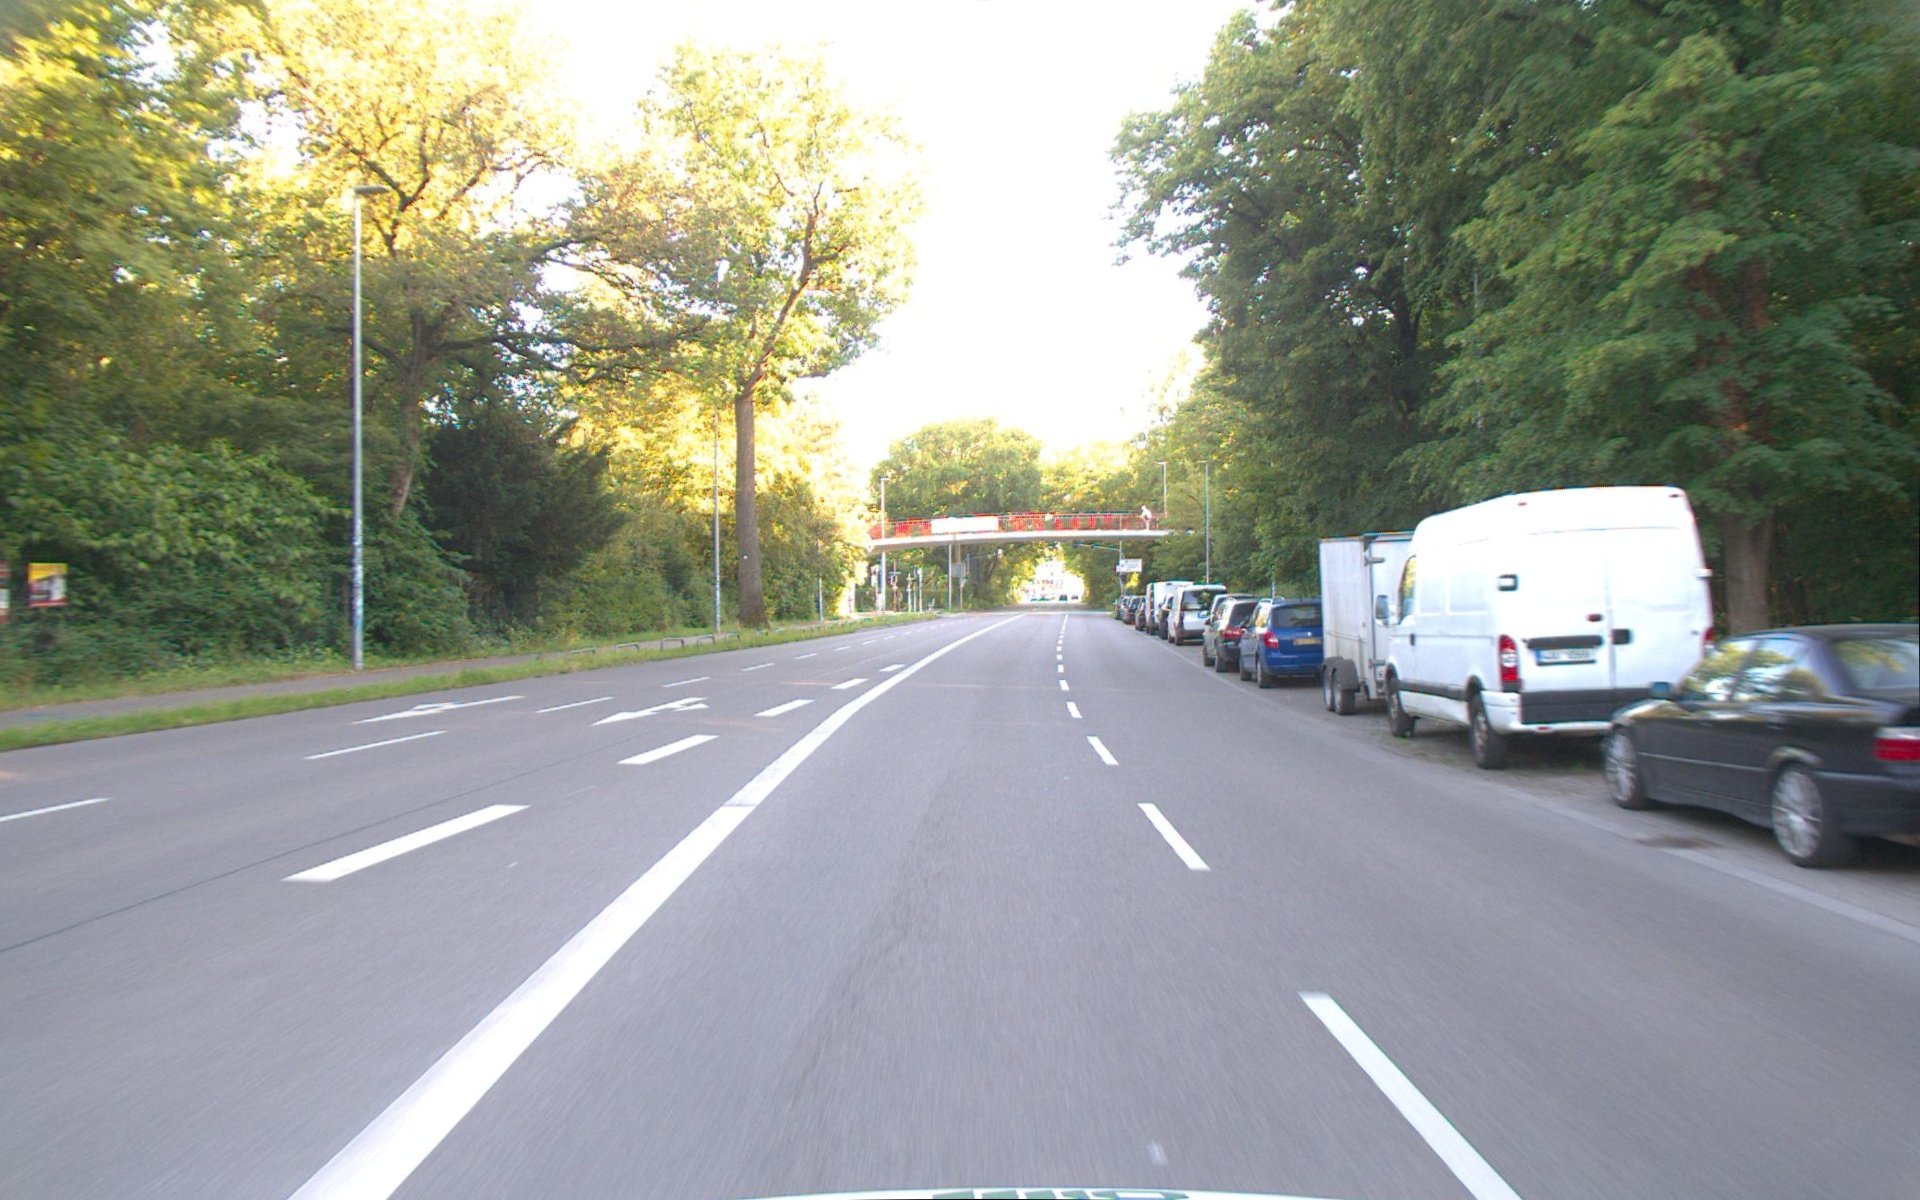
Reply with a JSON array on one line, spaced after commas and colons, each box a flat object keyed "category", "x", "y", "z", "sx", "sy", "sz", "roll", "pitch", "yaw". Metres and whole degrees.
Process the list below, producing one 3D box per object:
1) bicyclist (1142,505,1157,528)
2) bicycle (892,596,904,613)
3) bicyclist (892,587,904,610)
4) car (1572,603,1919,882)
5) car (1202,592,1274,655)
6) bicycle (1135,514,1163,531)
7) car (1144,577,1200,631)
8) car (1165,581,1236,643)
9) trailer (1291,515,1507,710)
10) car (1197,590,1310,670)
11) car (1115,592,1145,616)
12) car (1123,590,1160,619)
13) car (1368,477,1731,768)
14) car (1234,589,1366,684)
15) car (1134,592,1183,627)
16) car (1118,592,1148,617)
[{"category": "bicyclist", "x": 13.695, "y": -6.002, "z": 119.485, "sx": 0.950, "sy": 1.614, "sz": 0.714, "roll": 1, "pitch": -1, "yaw": 2}, {"category": "bicycle", "x": -4.497, "y": 0.322, "z": 120.013, "sx": 0.697, "sy": 1.167, "sz": 1.994, "roll": 1, "pitch": -1, "yaw": 3}, {"category": "bicyclist", "x": -4.487, "y": -0.105, "z": 120.018, "sx": 0.697, "sy": 1.586, "sz": 1.143, "roll": 1, "pitch": -1, "yaw": 3}, {"category": "car", "x": 5.725, "y": 0.748, "z": 10.978, "sx": 1.643, "sy": 1.425, "sz": 4.651, "roll": -1, "pitch": 0, "yaw": 1}, {"category": "car", "x": 7.101, "y": 0.587, "z": 42.441, "sx": 1.552, "sy": 1.521, "sz": 3.182, "roll": -1, "pitch": 0, "yaw": 5}, {"category": "bicycle", "x": 13.677, "y": -5.623, "z": 119.480, "sx": 1.945, "sy": 1.167, "sz": 0.714, "roll": 1, "pitch": -1, "yaw": 2}, {"category": "car", "x": 8.279, "y": 0.150, "z": 64.922, "sx": 1.829, "sy": 2.016, "sz": 5.477, "roll": -1, "pitch": 0, "yaw": 4}, {"category": "car", "x": 7.557, "y": 0.374, "z": 52.283, "sx": 1.722, "sy": 1.835, "sz": 4.739, "roll": -1, "pitch": 0, "yaw": 2}, {"category": "trailer", "x": 6.154, "y": 0.170, "z": 23.830, "sx": 1.864, "sy": 2.466, "sz": 5.128, "roll": -1, "pitch": 0, "yaw": 2}, {"category": "car", "x": 6.260, "y": 0.605, "z": 35.791, "sx": 1.722, "sy": 1.562, "sz": 4.990, "roll": -1, "pitch": 0, "yaw": 2}, {"category": "car", "x": 10.759, "y": 0.236, "z": 104.980, "sx": 1.737, "sy": 1.479, "sz": 4.390, "roll": -1, "pitch": 0, "yaw": 4}, {"category": "car", "x": 9.591, "y": 0.246, "z": 87.675, "sx": 1.603, "sy": 1.479, "sz": 4.899, "roll": -1, "pitch": 0, "yaw": 2}, {"category": "car", "x": 5.768, "y": 0.202, "z": 17.051, "sx": 1.864, "sy": 2.466, "sz": 5.577, "roll": -1, "pitch": 0, "yaw": 2}, {"category": "car", "x": 6.080, "y": 0.616, "z": 30.022, "sx": 1.642, "sy": 1.562, "sz": 4.354, "roll": -1, "pitch": 0, "yaw": 2}, {"category": "car", "x": 8.549, "y": 0.399, "z": 71.512, "sx": 1.829, "sy": 1.431, "sz": 4.371, "roll": -1, "pitch": 0, "yaw": 4}, {"category": "car", "x": 10.543, "y": 0.271, "z": 100.534, "sx": 1.736, "sy": 1.479, "sz": 4.017, "roll": -1, "pitch": 0, "yaw": 7}]
